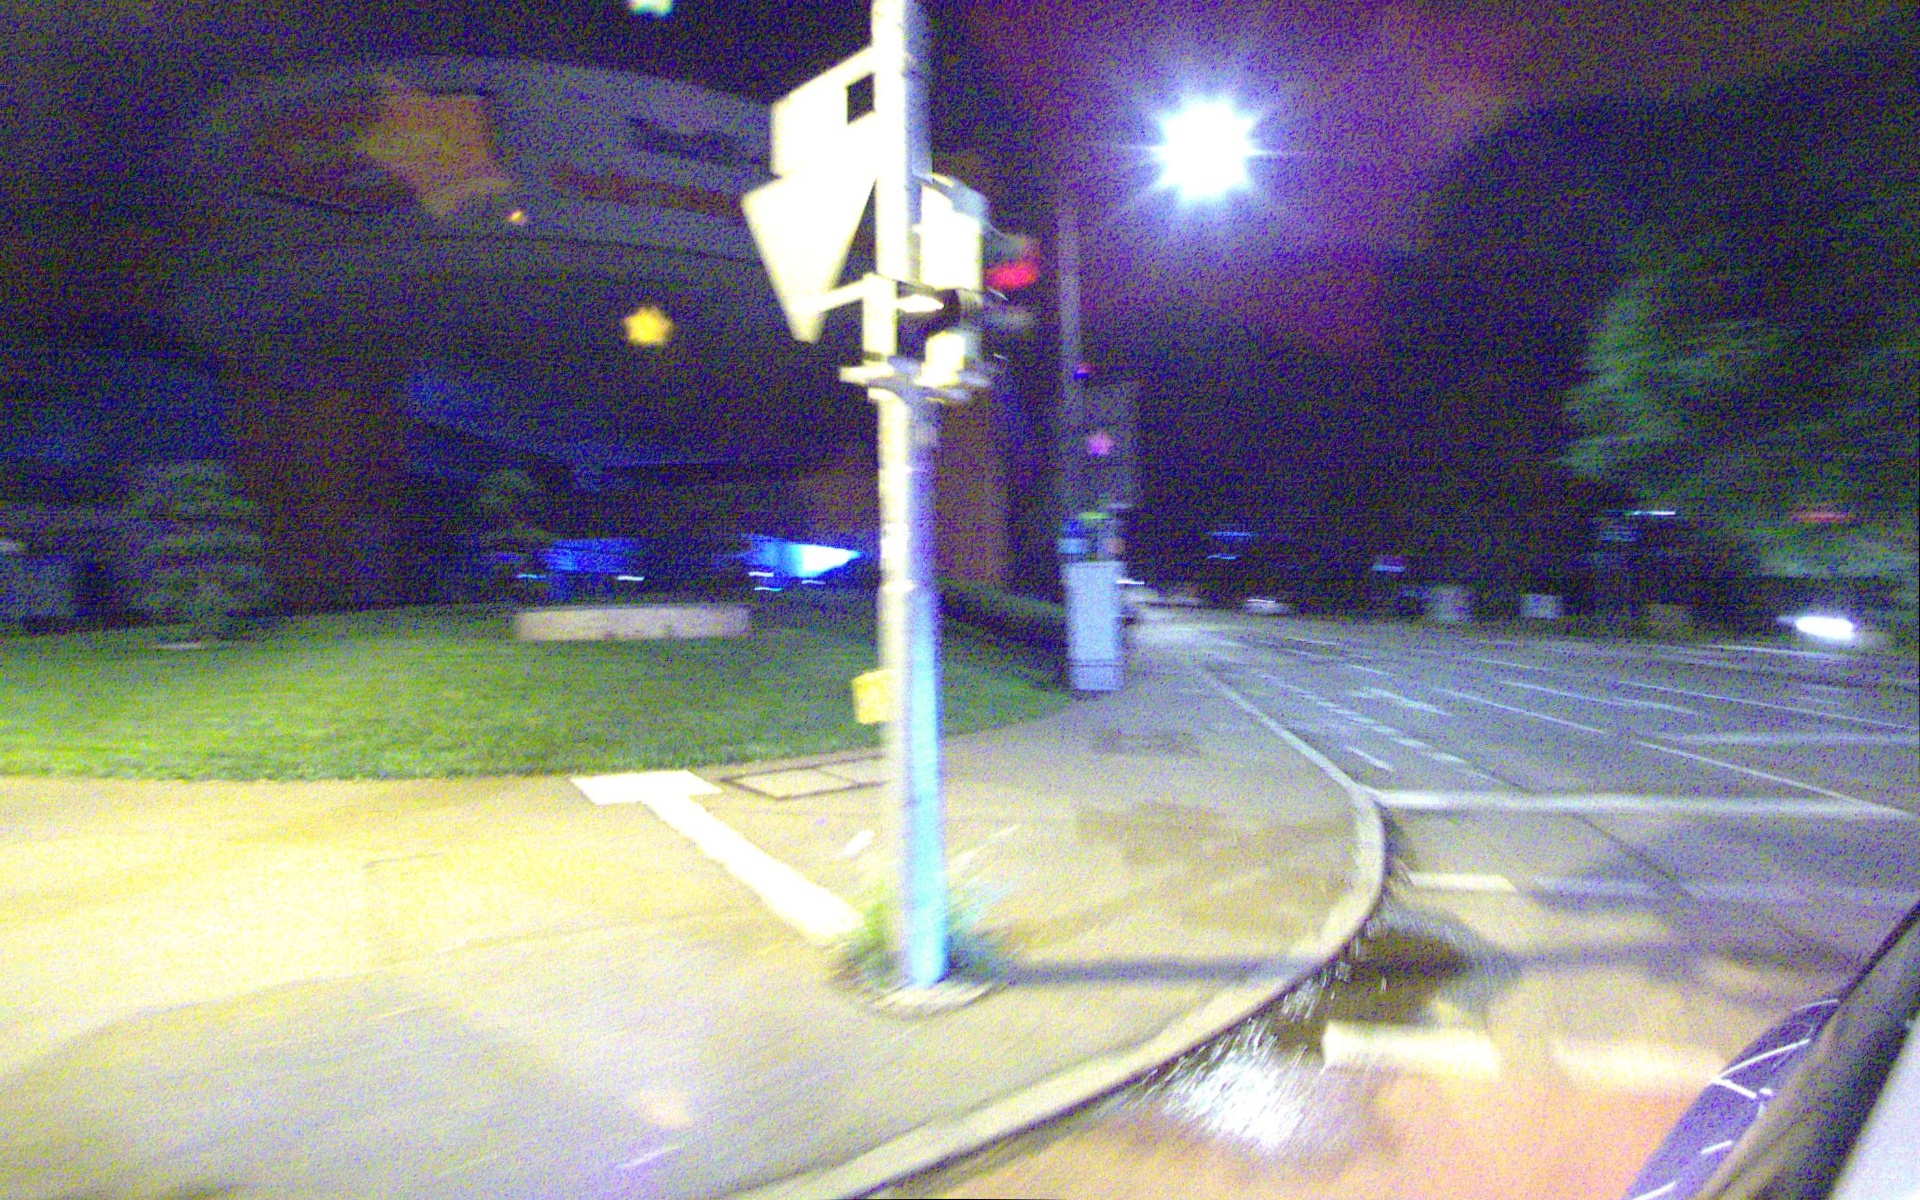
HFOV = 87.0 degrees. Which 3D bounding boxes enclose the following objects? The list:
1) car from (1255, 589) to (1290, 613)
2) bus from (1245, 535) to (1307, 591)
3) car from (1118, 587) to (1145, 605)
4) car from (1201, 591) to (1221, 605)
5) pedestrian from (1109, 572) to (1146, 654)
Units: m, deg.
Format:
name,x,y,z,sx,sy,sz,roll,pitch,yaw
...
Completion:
name,x,y,z,sx,sy,sz,roll,pitch,yaw
car,22.324,0.048,72.364,1.778,1.612,3.990,-1,0,9
bus,42.890,-4.821,138.009,6.041,7.026,14.740,-1,0,10
car,15.818,-0.375,93.286,1.972,1.668,3.980,1,1,16
car,27.649,-0.218,111.656,1.835,1.511,4.069,-1,0,10
pedestrian,3.971,0.304,23.964,0.807,1.889,1.031,-1,0,10
